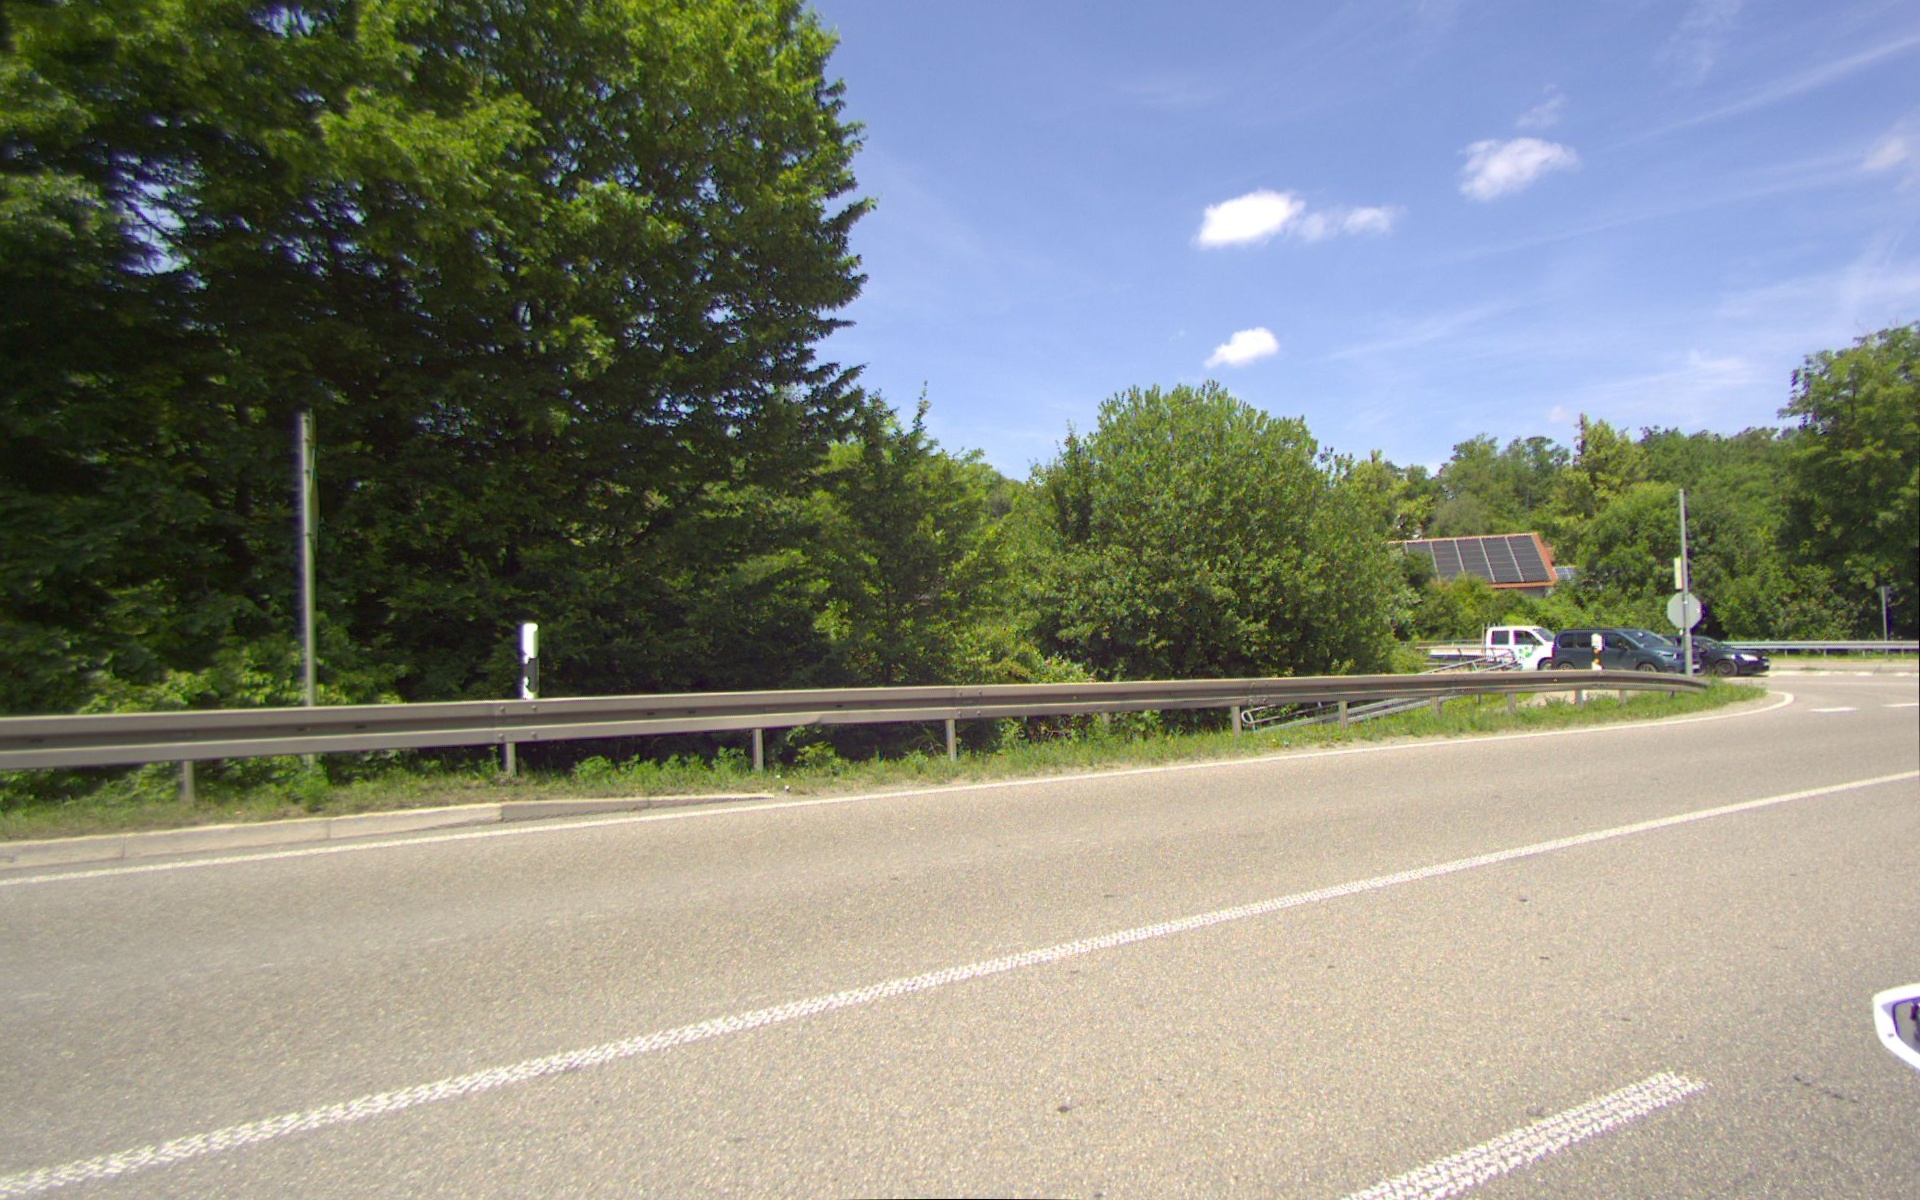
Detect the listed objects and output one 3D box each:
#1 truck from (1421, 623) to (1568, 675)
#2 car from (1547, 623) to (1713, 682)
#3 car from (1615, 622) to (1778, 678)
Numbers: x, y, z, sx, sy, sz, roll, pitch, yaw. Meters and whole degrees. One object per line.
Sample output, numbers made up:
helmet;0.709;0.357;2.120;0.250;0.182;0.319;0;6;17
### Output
truck;21.507;1.957;40.557;2.028;1.815;4.832;3;-1;-41
car;22.007;1.687;33.194;1.969;1.793;4.229;1;-1;-20
car;25.611;1.706;35.111;1.969;1.793;4.229;1;-1;-20
